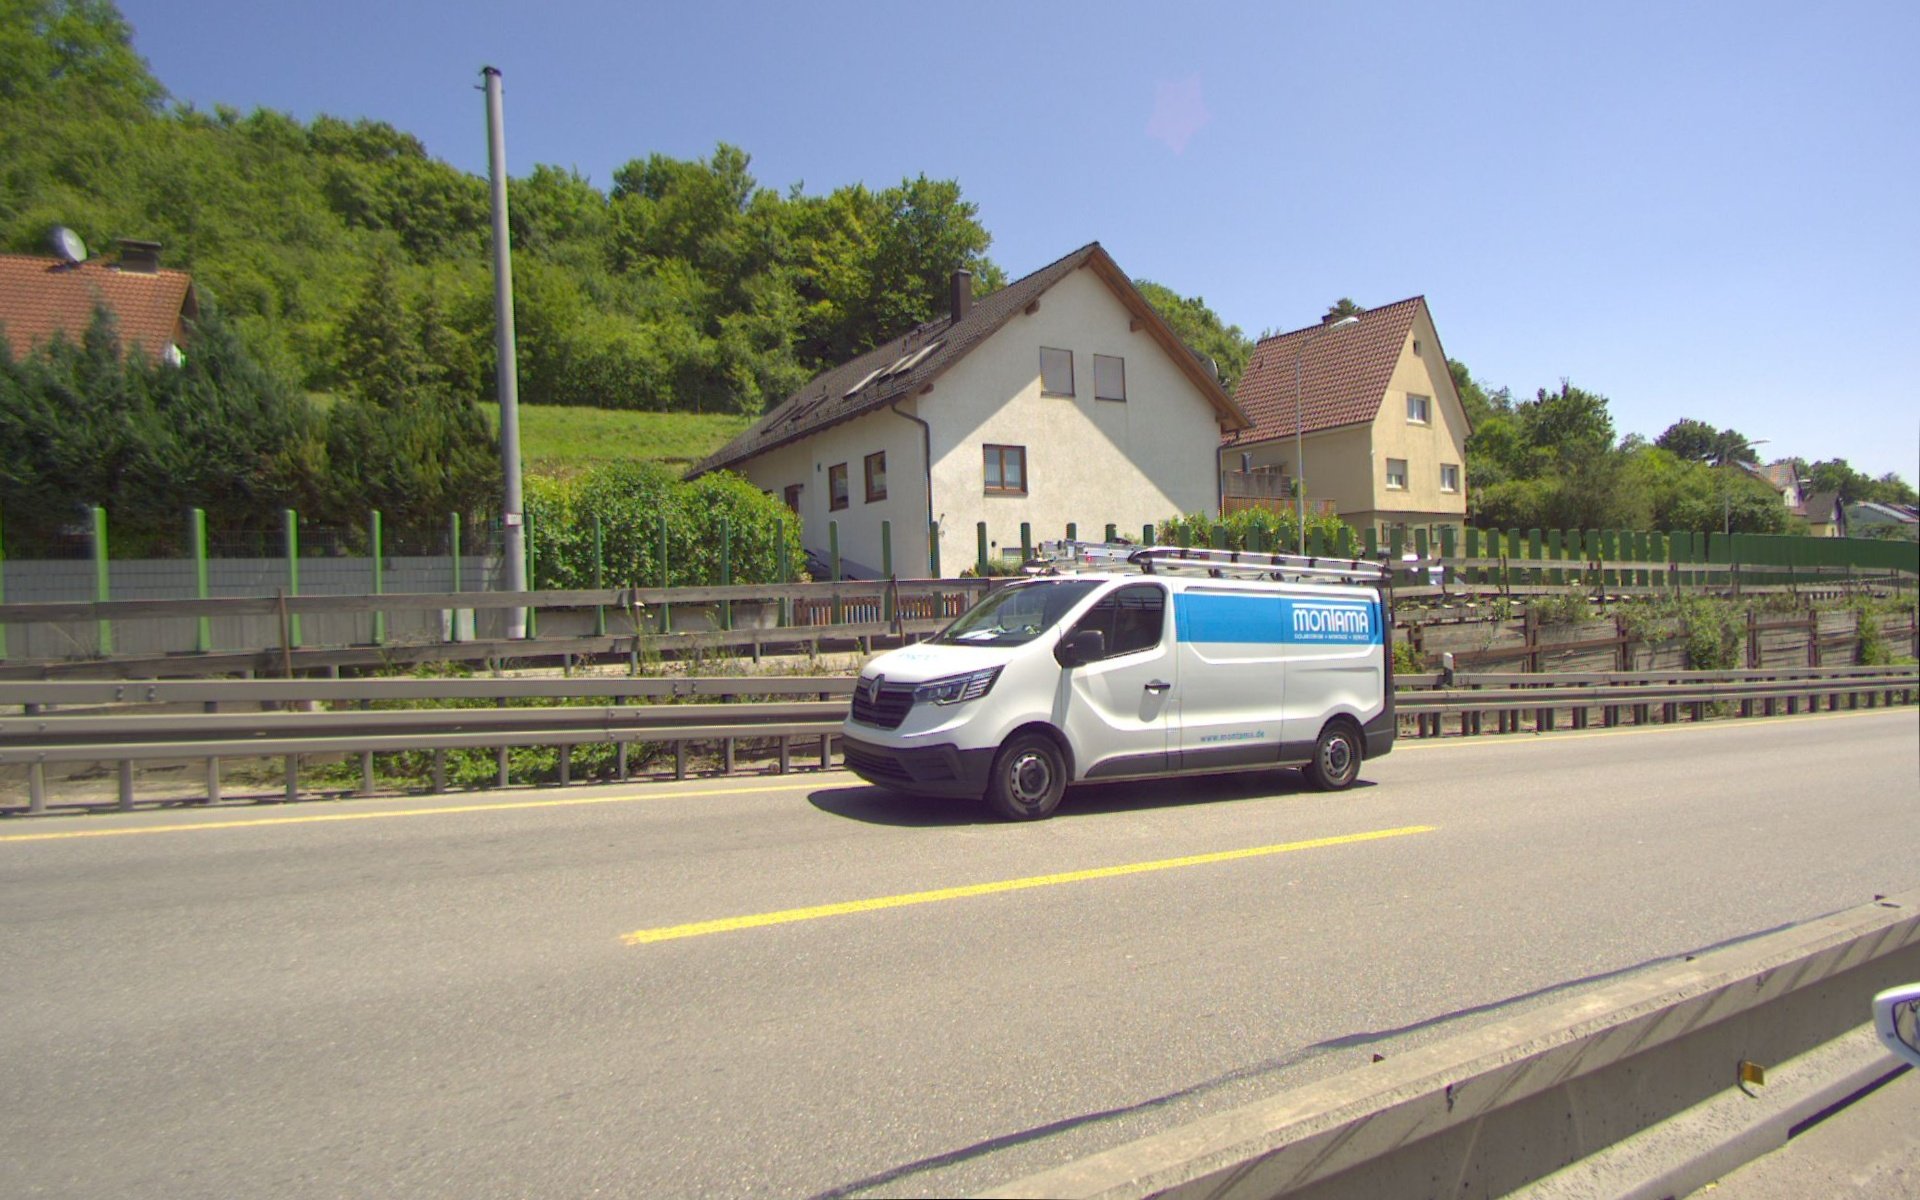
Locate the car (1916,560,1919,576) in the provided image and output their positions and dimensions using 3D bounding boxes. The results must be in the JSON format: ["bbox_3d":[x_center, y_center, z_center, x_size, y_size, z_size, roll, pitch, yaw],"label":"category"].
[{"bbox_3d":[92.861,-3.057,96.161,1.707,1.416,3.784,0,-1,40],"label":"car"}]

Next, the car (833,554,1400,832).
[{"bbox_3d":[1.594,0.714,9.182,5.183,1.951,1.816,1,-1,-31],"label":"car"}]
